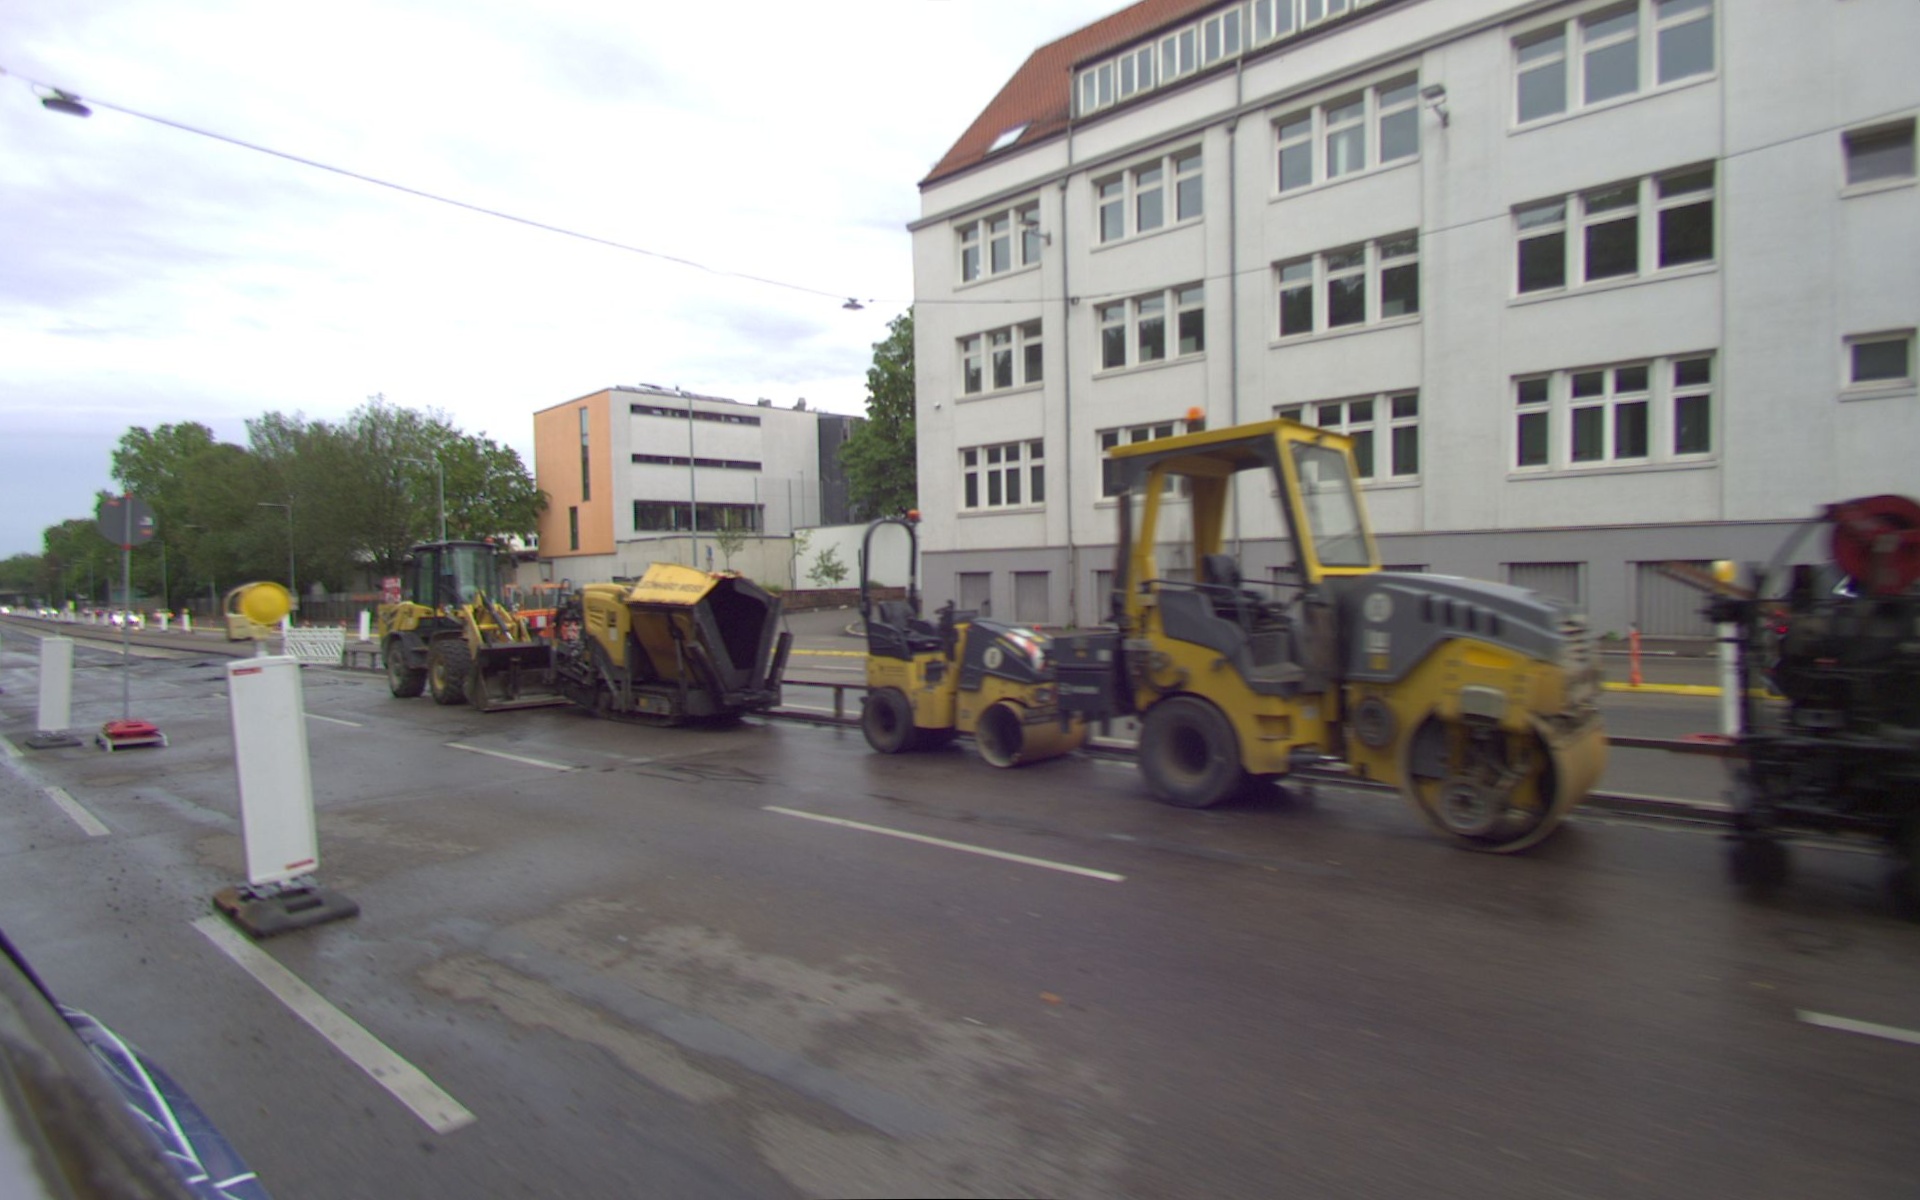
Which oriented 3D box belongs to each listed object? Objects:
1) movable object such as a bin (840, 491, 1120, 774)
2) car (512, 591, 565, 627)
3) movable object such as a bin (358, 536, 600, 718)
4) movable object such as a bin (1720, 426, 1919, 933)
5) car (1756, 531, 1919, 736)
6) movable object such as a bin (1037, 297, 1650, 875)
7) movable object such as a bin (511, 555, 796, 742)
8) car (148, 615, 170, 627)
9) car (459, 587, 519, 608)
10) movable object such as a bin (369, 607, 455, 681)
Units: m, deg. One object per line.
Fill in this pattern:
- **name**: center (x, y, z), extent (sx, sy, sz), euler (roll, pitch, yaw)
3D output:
- **movable object such as a bin**: center (0.158, 0.301, 9.961), extent (2.404, 2.419, 1.396), euler (-2, -1, 41)
- **car**: center (-26.798, 0.589, 64.268), extent (4.001, 2.186, 1.592), euler (-1, 1, 44)
- **movable object such as a bin**: center (-8.292, 0.418, 17.157), extent (5.384, 2.628, 1.881), euler (-2, 0, 44)
- **movable object such as a bin**: center (5.411, 0.319, 4.310), extent (3.347, 2.166, 1.698), euler (-2, -1, 41)
- **car**: center (9.750, 0.208, 8.193), extent (4.986, 1.718, 1.971), euler (-2, 2, 45)
- **movable object such as a bin**: center (2.466, -0.045, 7.113), extent (3.724, 3.031, 1.450), euler (-2, -1, 43)
- **movable object such as a bin**: center (-4.304, 0.574, 13.608), extent (5.031, 2.106, 1.347), euler (-2, 0, 44)
- **car**: center (-95.010, 2.538, 119.992), extent (3.806, 1.378, 1.536), euler (-1, 0, 44)
- **car**: center (-38.063, -0.204, 81.884), extent (3.960, 1.539, 2.003), euler (-2, 1, -7)
- **movable object such as a bin**: center (-13.296, 1.044, 24.528), extent (2.439, 1.657, 1.071), euler (-1, 1, 44)
